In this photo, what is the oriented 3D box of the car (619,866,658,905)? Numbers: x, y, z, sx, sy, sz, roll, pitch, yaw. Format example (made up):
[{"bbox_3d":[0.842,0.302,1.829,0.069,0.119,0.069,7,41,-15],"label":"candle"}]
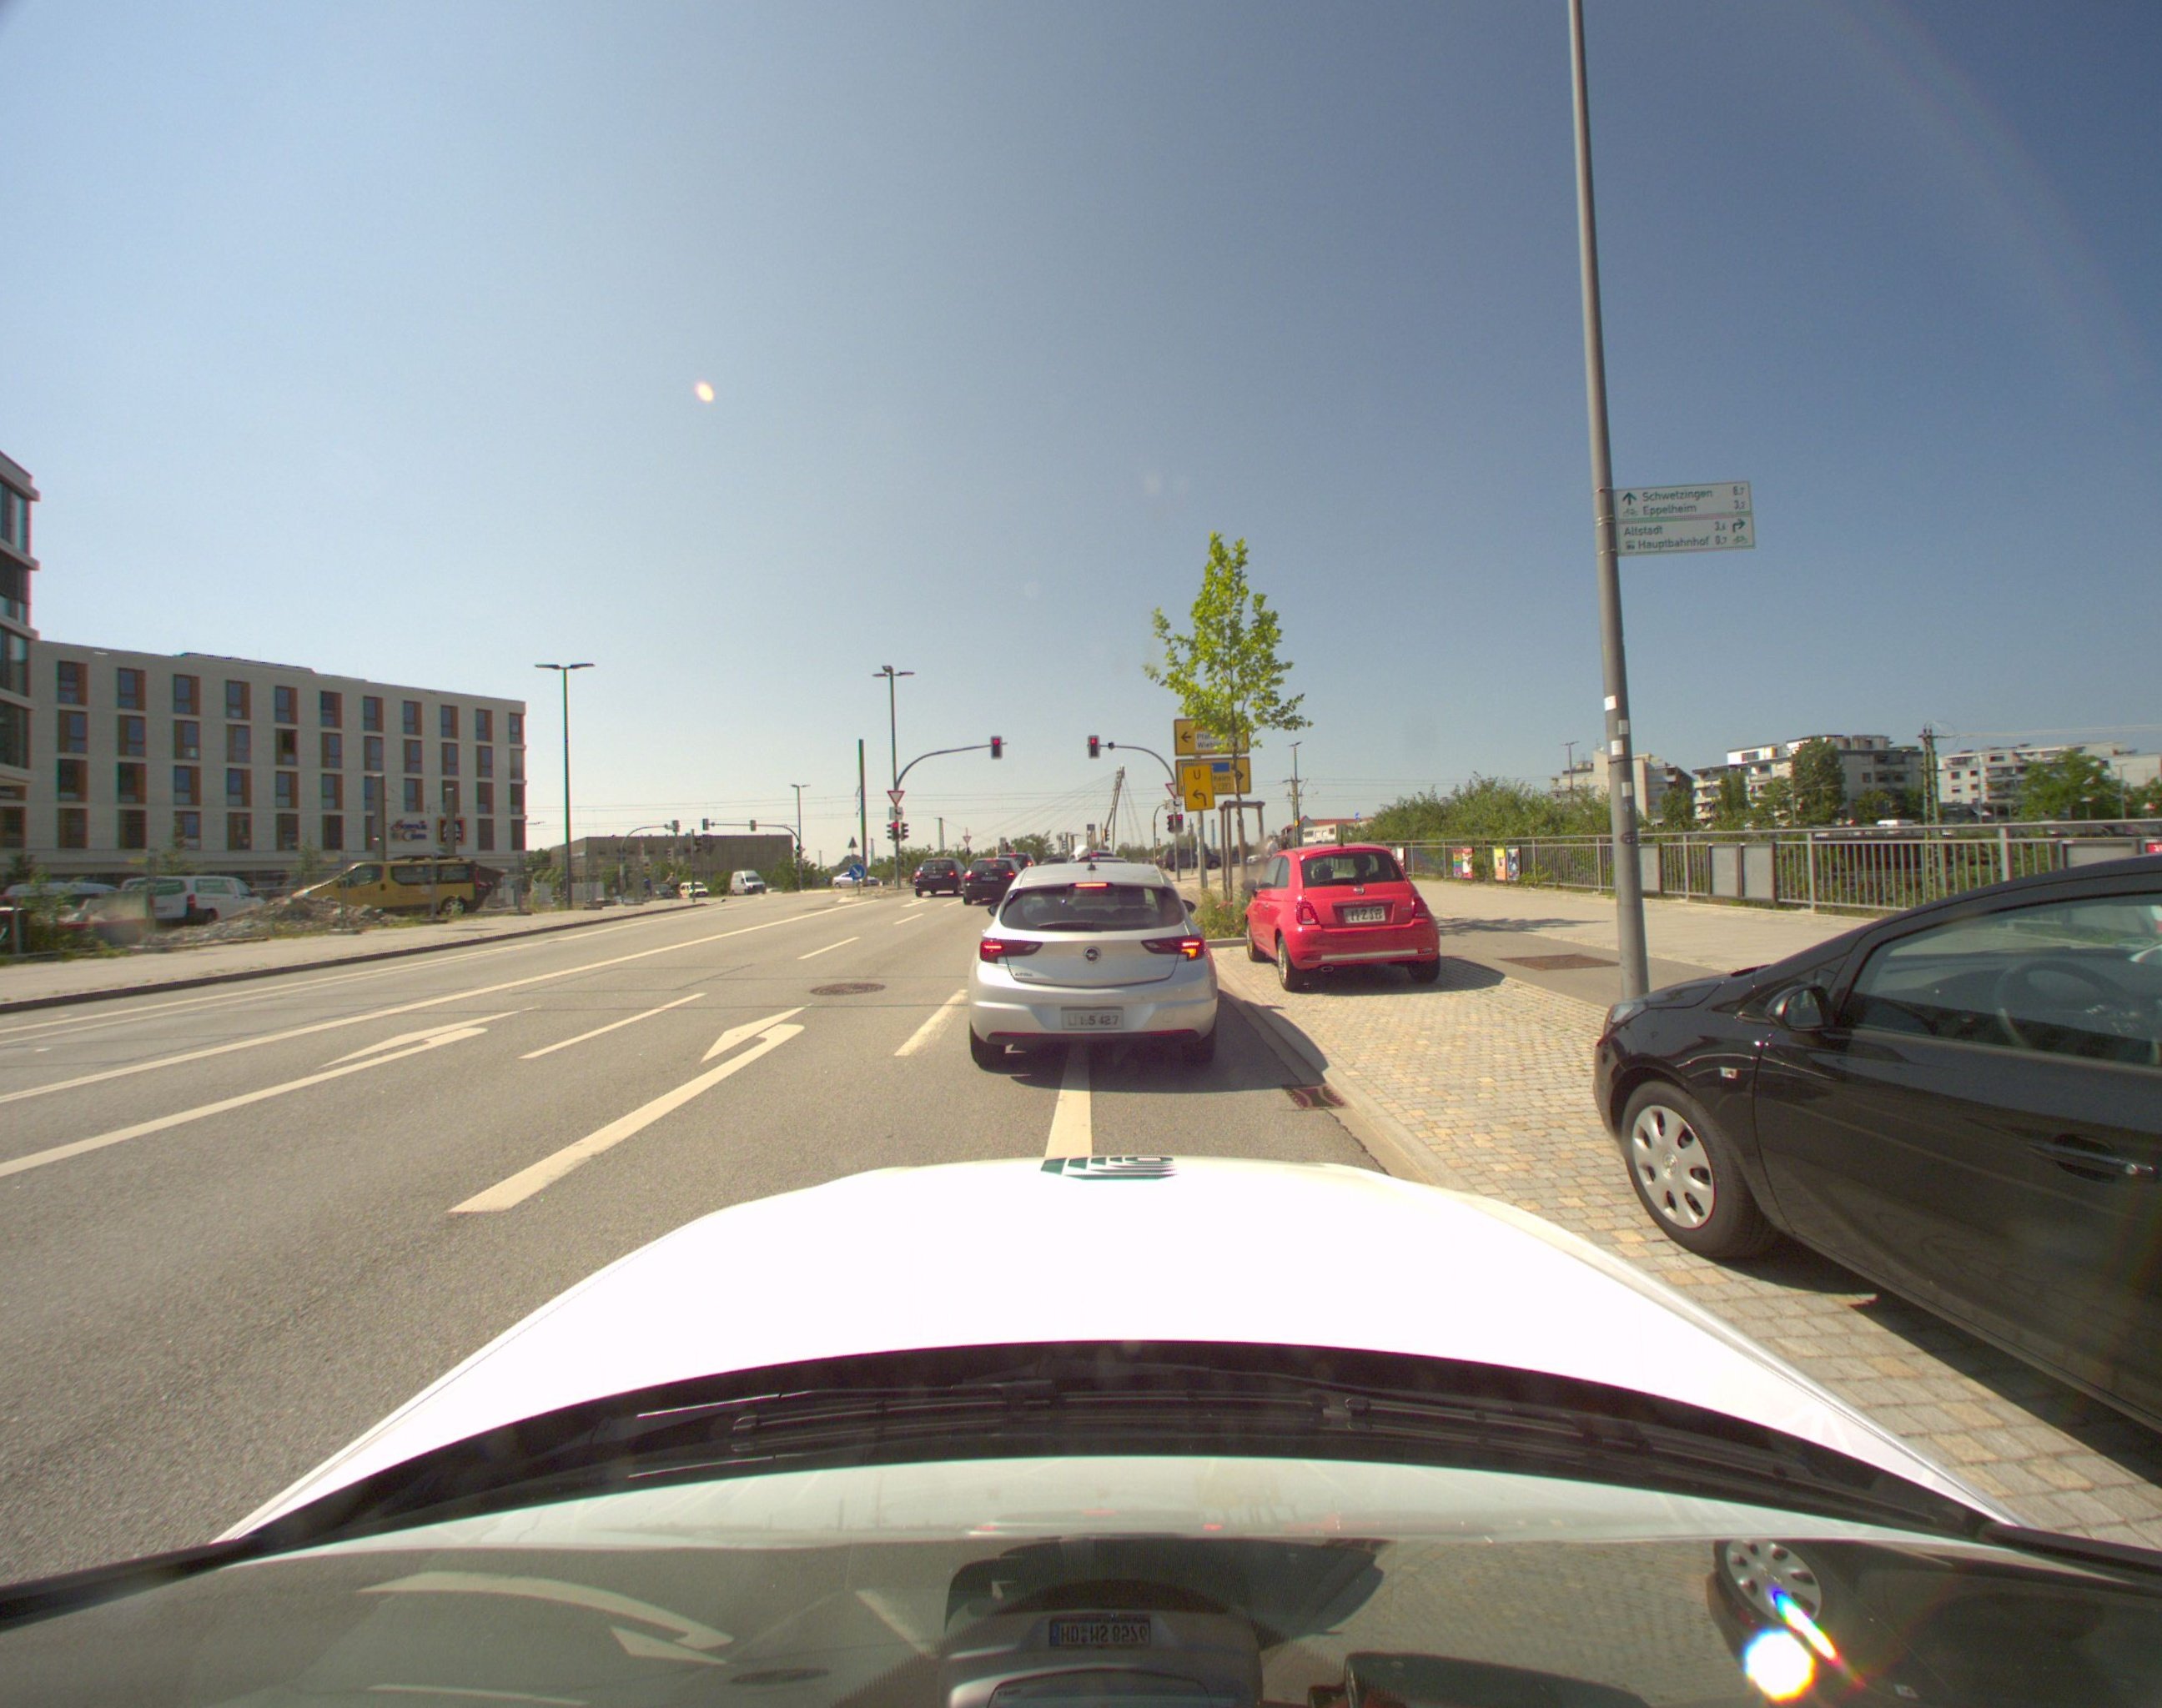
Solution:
[{"bbox_3d":[-24.030,1.649,44.342,1.679,2.014,3.966,0,-1,-26],"label":"car"}]

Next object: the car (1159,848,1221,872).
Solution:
[{"bbox_3d":[8.474,0.492,63.761,4.536,1.783,1.998,-1,-1,-3],"label":"car"}]

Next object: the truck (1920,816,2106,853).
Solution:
[{"bbox_3d":[87.297,-1.763,76.256,17.857,3.204,3.723,0,-1,-14],"label":"truck"}]

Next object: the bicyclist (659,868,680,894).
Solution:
[{"bbox_3d":[-25.420,1.658,50.264,0.936,1.569,0.828,-1,-2,38],"label":"bicyclist"}]

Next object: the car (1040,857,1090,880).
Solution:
[{"bbox_3d":[-1.204,1.120,63.639,3.831,1.684,1.665,-1,-1,1],"label":"car"}]

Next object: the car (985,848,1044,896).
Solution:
[{"bbox_3d":[-2.529,0.684,31.885,1.797,1.622,3.917,-4,-1,1],"label":"car"}]

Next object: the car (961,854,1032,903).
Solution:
[{"bbox_3d":[-2.590,0.751,25.941,1.699,1.412,4.001,0,-1,2],"label":"car"}]

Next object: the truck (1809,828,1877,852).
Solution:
[{"bbox_3d":[77.826,-1.421,83.228,5.858,2.367,2.109,0,-1,-12],"label":"truck"}]

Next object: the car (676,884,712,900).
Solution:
[{"bbox_3d":[-38.759,3.818,81.521,3.453,1.524,1.649,-1,-1,33],"label":"car"}]

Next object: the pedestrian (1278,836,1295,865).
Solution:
[{"bbox_3d":[12.973,-0.207,51.436,0.746,1.863,0.744,1,-2,-44],"label":"pedestrian"}]

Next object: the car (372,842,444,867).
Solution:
[{"bbox_3d":[-54.328,0.072,65.820,3.990,2.014,1.991,0,-1,-12],"label":"car"}]

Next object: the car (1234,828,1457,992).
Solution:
[{"bbox_3d":[2.995,0.541,10.079,1.662,1.539,3.921,-3,0,4],"label":"car"}]

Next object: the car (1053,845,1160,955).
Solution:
[{"bbox_3d":[0.432,0.732,14.272,1.629,1.674,3.745,0,-1,1],"label":"car"}]

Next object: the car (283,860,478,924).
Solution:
[{"bbox_3d":[-22.658,1.149,26.491,1.974,1.890,4.514,-1,-1,40],"label":"car"}]

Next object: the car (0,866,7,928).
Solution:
[{"bbox_3d":[-36.145,1.401,25.026,2.220,2.056,4.133,0,-1,-28],"label":"car"}]

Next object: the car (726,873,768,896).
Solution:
[{"bbox_3d":[-32.678,2.924,79.623,4.778,2.119,1.808,-1,-1,42],"label":"car"}]

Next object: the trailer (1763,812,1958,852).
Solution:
[{"bbox_3d":[68.114,-1.788,71.150,17.225,3.204,3.723,0,-1,-14],"label":"trailer"}]

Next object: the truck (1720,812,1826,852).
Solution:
[{"bbox_3d":[58.221,-1.794,68.626,6.478,3.204,3.721,0,-1,-14],"label":"truck"}]

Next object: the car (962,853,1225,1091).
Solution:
[{"bbox_3d":[0.125,0.778,7.429,1.685,1.520,4.271,-1,0,1],"label":"car"}]

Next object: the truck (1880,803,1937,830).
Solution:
[{"bbox_3d":[82.625,-3.730,81.313,4.703,2.541,1.989,0,-1,-16],"label":"truck"}]

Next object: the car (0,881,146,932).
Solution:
[{"bbox_3d":[-33.701,1.683,27.219,1.809,1.508,3.965,0,-1,-27],"label":"car"}]

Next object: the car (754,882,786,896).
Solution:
[{"bbox_3d":[-36.961,4.131,96.715,4.155,1.645,1.844,-1,-1,41],"label":"car"}]

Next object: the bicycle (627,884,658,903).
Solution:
[{"bbox_3d":[-30.455,2.766,56.537,2.499,1.134,0.733,-5,2,33],"label":"bicycle"}]

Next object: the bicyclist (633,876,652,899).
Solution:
[{"bbox_3d":[-30.478,2.344,56.564,0.814,1.560,0.868,-1,-1,33],"label":"bicyclist"}]

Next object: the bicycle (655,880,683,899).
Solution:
[{"bbox_3d":[-25.415,2.186,50.233,2.335,1.127,0.681,-1,-1,39],"label":"bicycle"}]

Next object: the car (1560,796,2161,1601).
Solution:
[{"bbox_3d":[2.868,0.642,1.729,1.576,1.555,3.548,-4,0,1],"label":"car"}]

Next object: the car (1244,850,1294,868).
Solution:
[{"bbox_3d":[17.774,0.447,77.059,4.254,1.673,1.989,-1,-1,-16],"label":"car"}]

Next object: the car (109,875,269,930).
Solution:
[{"bbox_3d":[-31.065,1.625,28.584,2.003,1.707,4.526,0,-1,-23],"label":"car"}]

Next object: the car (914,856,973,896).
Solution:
[{"bbox_3d":[-5.216,0.821,31.190,1.581,1.395,3.340,-1,-1,1],"label":"car"}]

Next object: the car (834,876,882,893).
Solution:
[{"bbox_3d":[-18.582,2.550,67.886,3.667,1.333,1.783,-1,-1,32],"label":"car"}]

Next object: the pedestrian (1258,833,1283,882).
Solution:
[{"bbox_3d":[7.083,0.134,30.443,0.755,1.830,0.885,0,-1,1],"label":"pedestrian"}]
